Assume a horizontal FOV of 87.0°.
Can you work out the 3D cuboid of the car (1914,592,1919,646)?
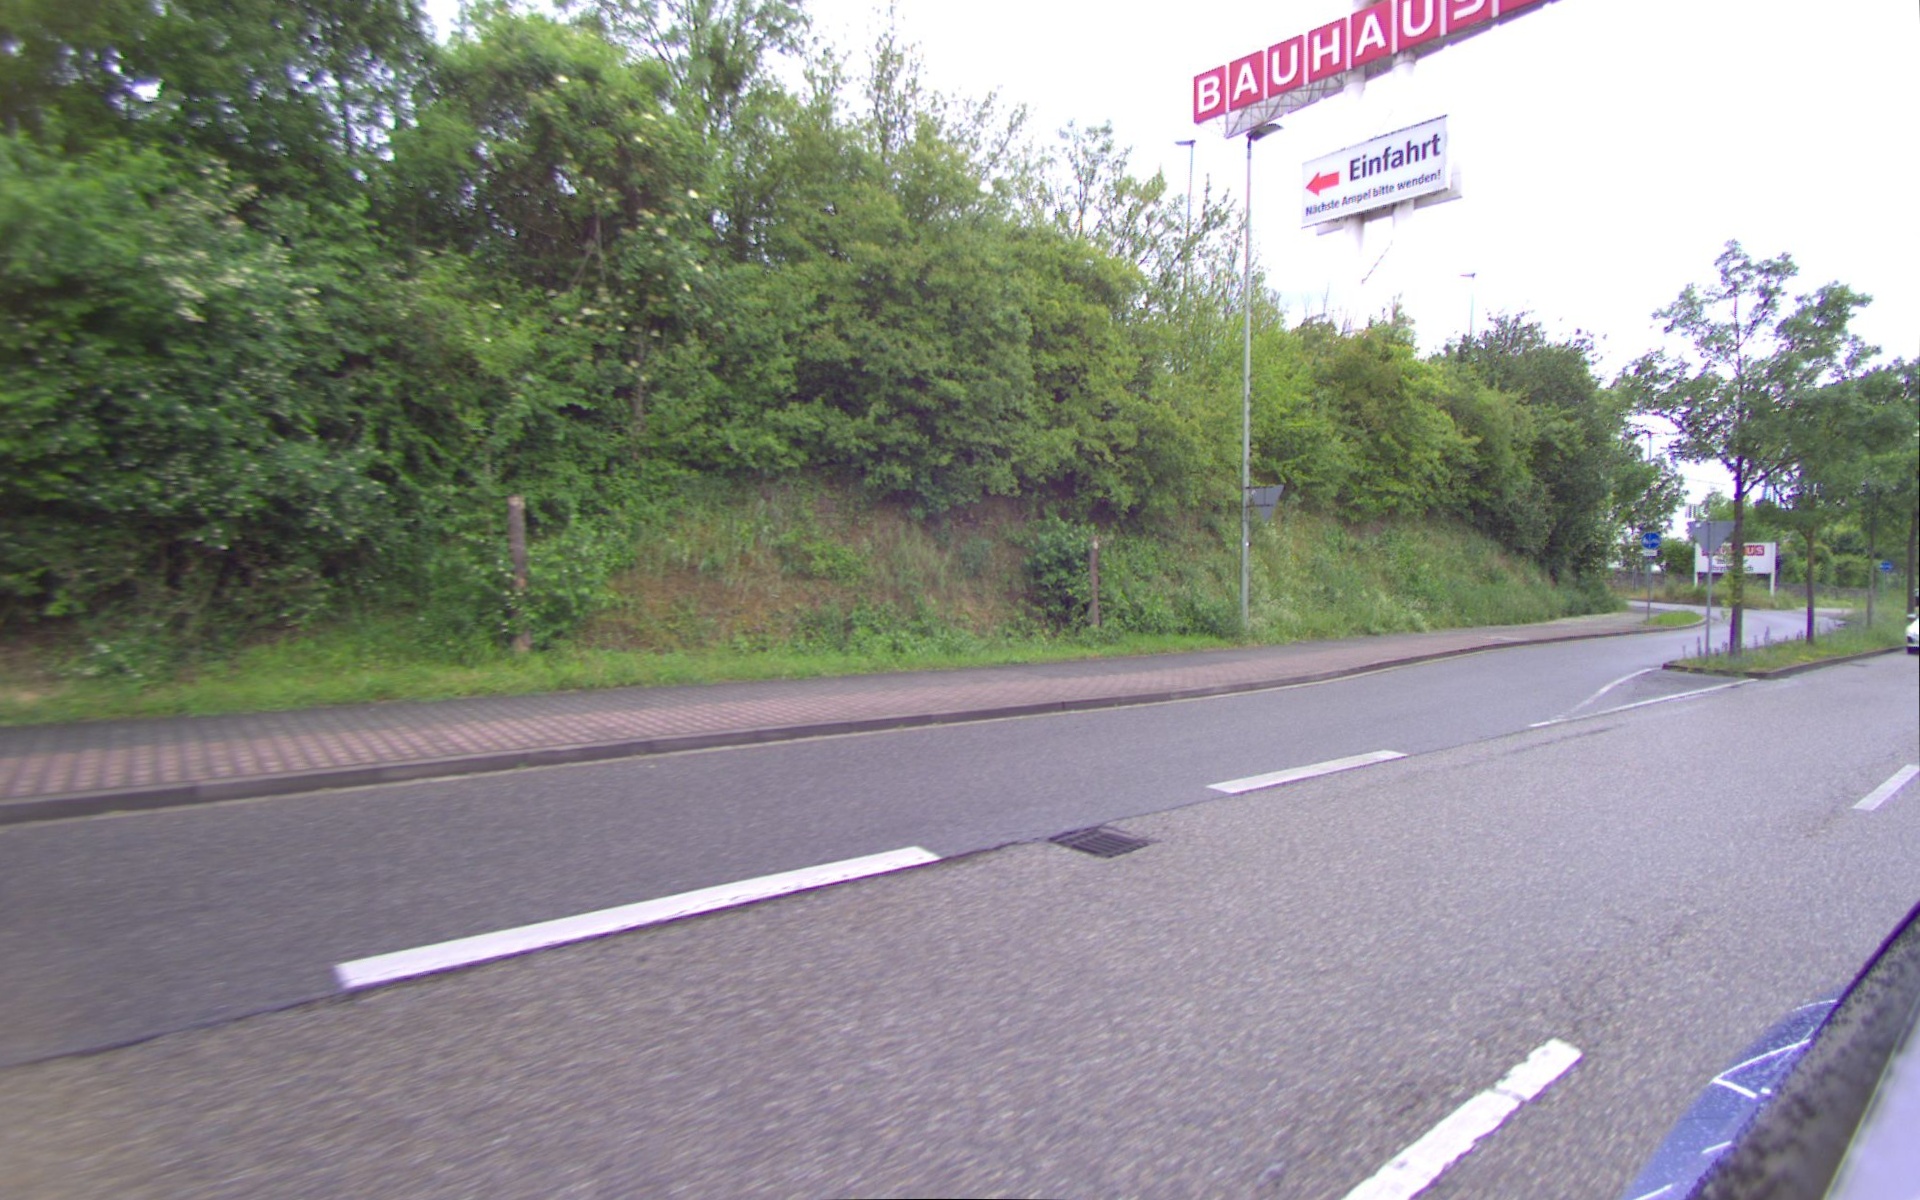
[{"bbox_3d":[28.731,0.532,28.726,3.928,1.500,1.864,0,1,-39],"label":"car"}]
